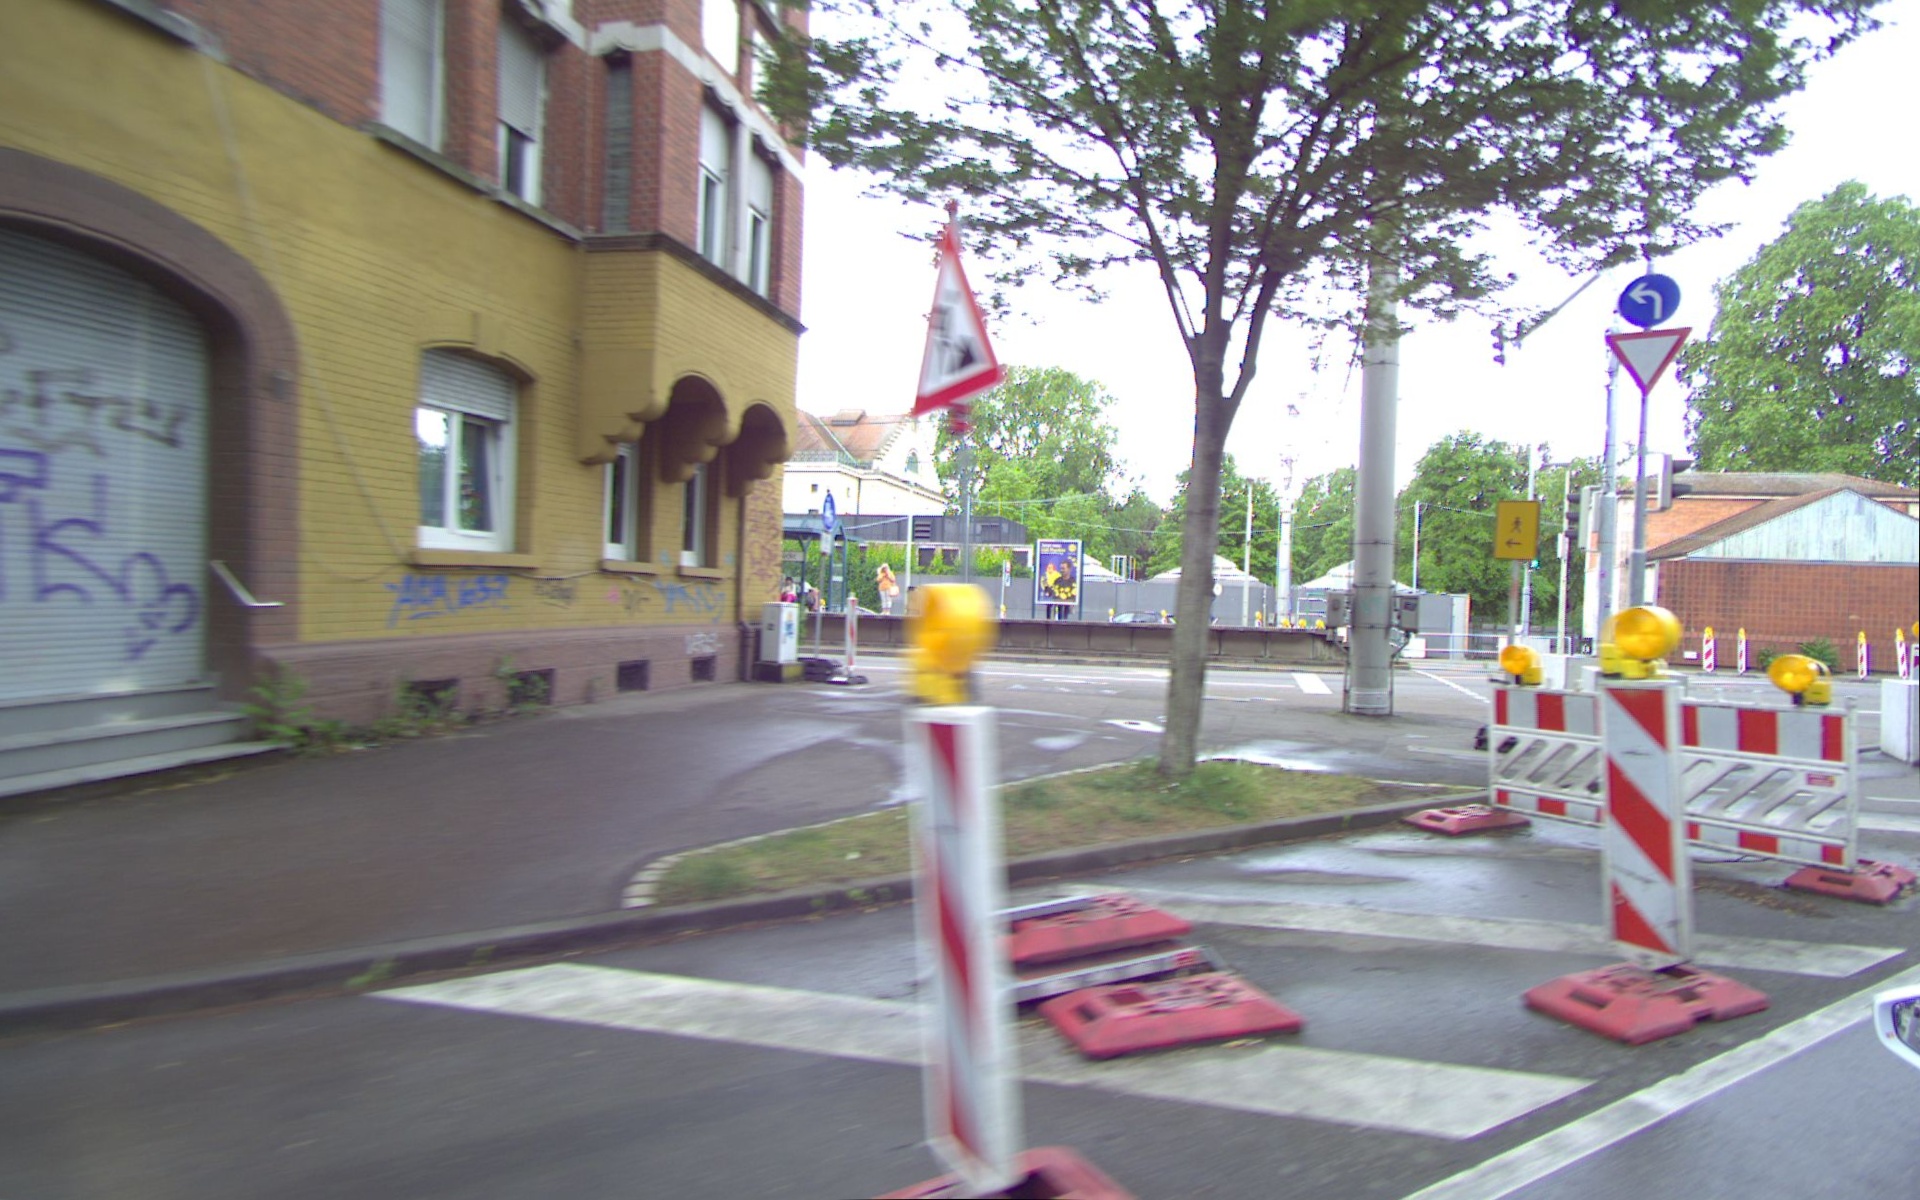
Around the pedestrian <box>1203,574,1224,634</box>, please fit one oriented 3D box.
[{"bbox_3d":[7.092,0.120,28.075,0.515,1.631,0.599,1,-1,15],"label":"pedestrian"}]

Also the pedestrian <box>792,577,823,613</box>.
[{"bbox_3d":[-4.955,-0.156,32.711,0.638,1.137,0.822,3,-1,17],"label":"pedestrian"}]

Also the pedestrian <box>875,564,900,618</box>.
[{"bbox_3d":[-2.312,-0.276,32.098,0.530,1.699,0.779,1,-1,15],"label":"pedestrian"}]

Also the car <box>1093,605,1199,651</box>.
[{"bbox_3d":[7.325,1.100,39.487,3.920,1.572,1.758,2,-2,16],"label":"car"}]

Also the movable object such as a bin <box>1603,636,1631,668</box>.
[{"bbox_3d":[28.405,2.239,43.441,0.834,1.358,0.801,1,-1,18],"label":"movable object such as a bin"}]

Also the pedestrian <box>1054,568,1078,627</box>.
[{"bbox_3d":[3.150,-0.065,29.820,0.586,1.722,0.459,1,-1,15],"label":"pedestrian"}]

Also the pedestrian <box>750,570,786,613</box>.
[{"bbox_3d":[-6.062,-0.275,31.694,0.758,1.286,0.810,3,-1,17],"label":"pedestrian"}]

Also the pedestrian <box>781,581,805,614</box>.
[{"bbox_3d":[-5.170,-0.061,31.105,0.503,0.992,0.663,1,-1,15],"label":"pedestrian"}]
